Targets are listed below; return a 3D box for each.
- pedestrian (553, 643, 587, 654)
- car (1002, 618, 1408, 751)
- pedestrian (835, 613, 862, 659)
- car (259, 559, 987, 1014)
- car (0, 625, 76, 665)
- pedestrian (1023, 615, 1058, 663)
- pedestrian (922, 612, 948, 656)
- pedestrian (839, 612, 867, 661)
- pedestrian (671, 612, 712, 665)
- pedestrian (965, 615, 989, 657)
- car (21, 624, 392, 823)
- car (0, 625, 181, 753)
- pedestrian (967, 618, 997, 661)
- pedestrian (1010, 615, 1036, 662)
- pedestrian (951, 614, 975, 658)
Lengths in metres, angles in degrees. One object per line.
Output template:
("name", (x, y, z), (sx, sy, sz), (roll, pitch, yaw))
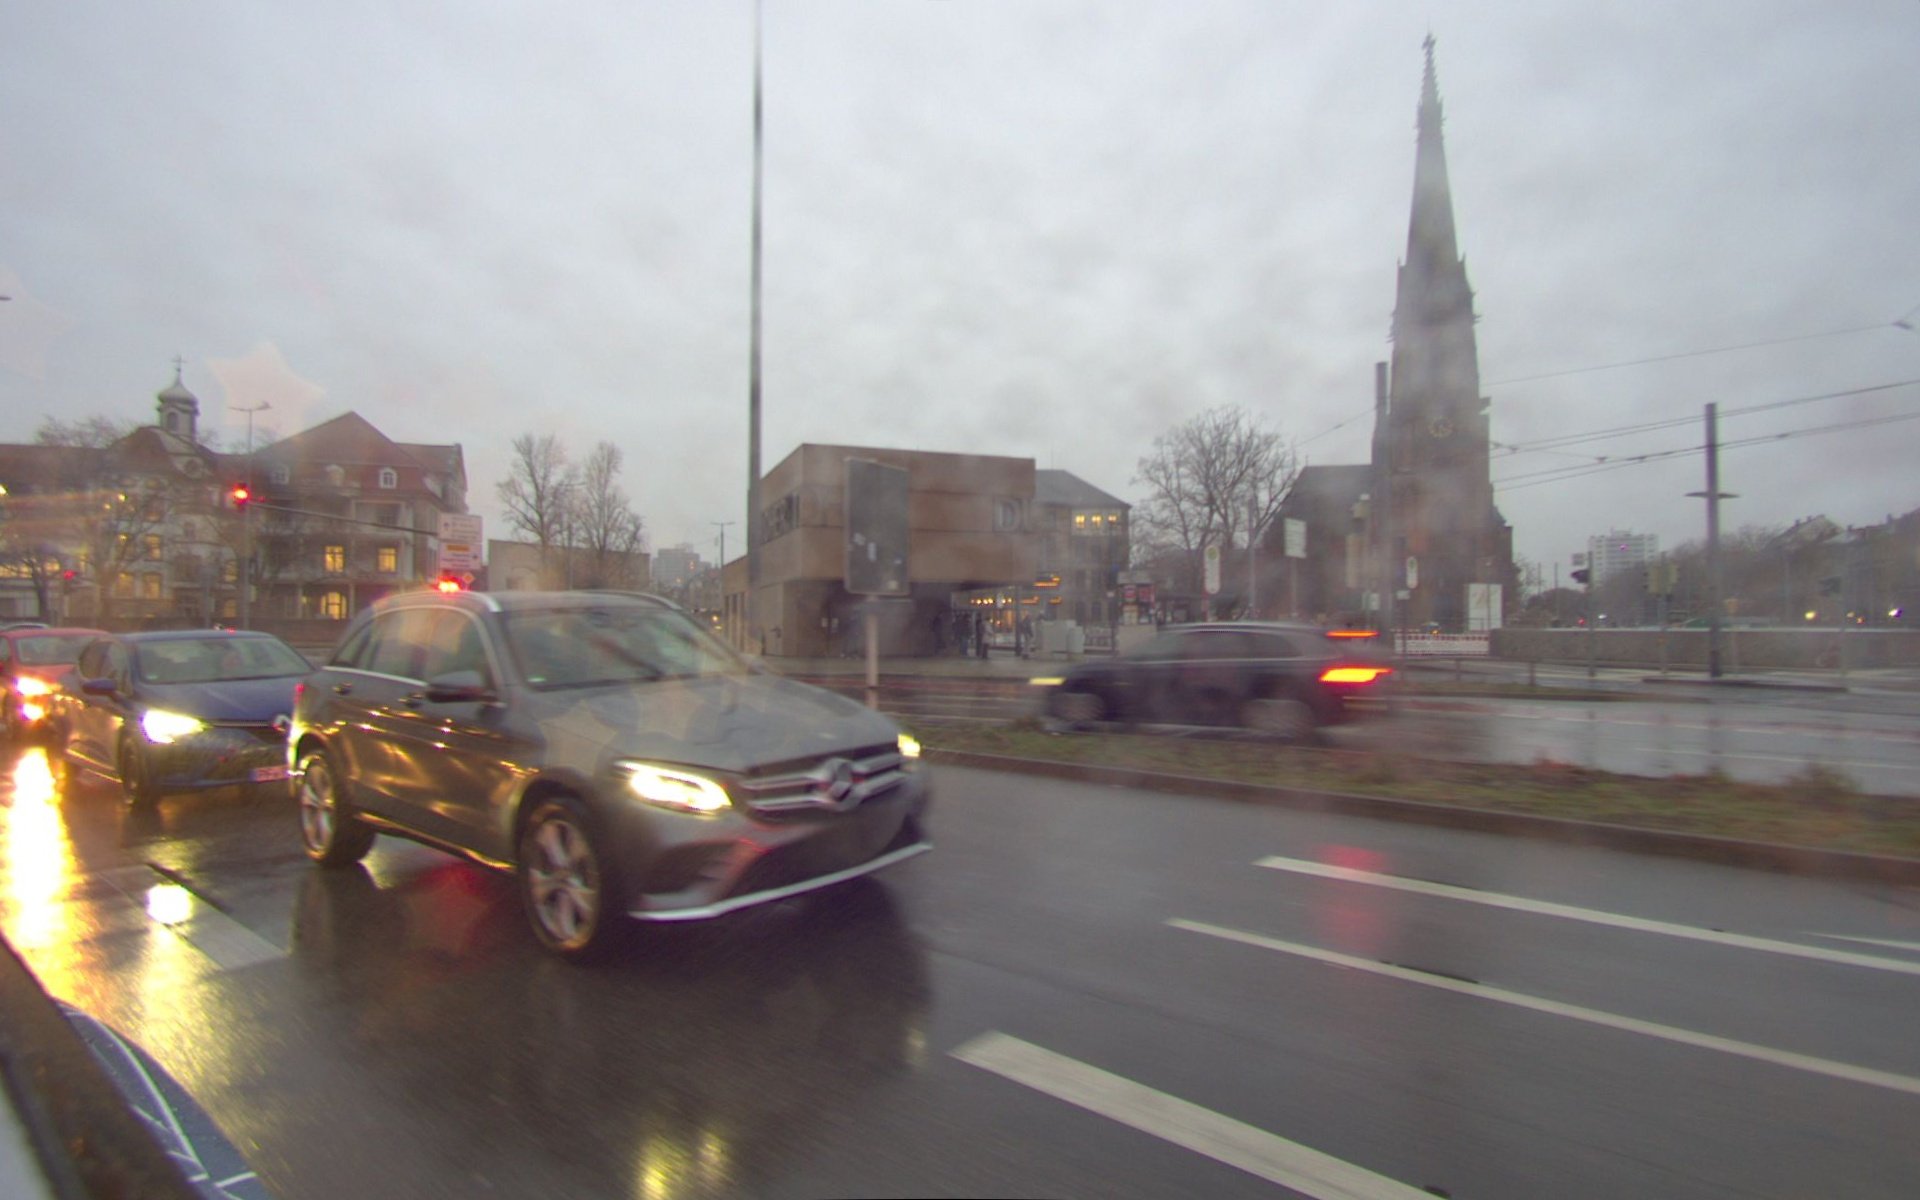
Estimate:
("pedestrian", (-38.268, 4.746, 99.281), (3.047, 0.937, 0.951), (-2, -3, -15))
("car", (3.047, 0.965, 13.135), (4.811, 1.430, 1.790), (-1, -1, 35))
("pedestrian", (-4.260, 1.370, 38.800), (0.731, 1.739, 0.745), (2, -3, -42))
("car", (-2.187, 0.686, 5.731), (4.537, 1.613, 1.767), (-1, 0, 40))
("car", (-40.841, 1.919, 43.130), (1.816, 1.656, 4.807), (0, -2, 6))
("pedestrian", (3.270, 1.604, 41.231), (1.104, 1.933, 1.066), (1, -3, -18))
("pedestrian", (-0.975, 1.341, 39.799), (0.731, 1.739, 0.745), (2, -3, -42))
("pedestrian", (-3.956, 1.359, 37.373), (0.828, 1.781, 0.657), (-1, -3, 23))
("pedestrian", (-9.854, 1.418, 37.206), (1.217, 1.872, 1.035), (-2, -3, 0))
("pedestrian", (0.722, 1.534, 43.071), (0.741, 1.739, 0.735), (-1, -3, 31))
("car", (-7.073, 0.965, 9.359), (4.112, 1.414, 1.644), (-1, 0, 37))
("car", (-12.748, 1.158, 14.246), (3.862, 1.493, 1.687), (-2, 0, 34))
("pedestrian", (0.835, 1.519, 38.594), (0.841, 1.615, 0.968), (1, -3, -21))
("pedestrian", (2.392, 1.468, 38.437), (0.757, 1.764, 0.795), (-1, -3, 22))
("pedestrian", (0.122, 1.453, 40.657), (0.741, 1.739, 0.735), (-1, -3, 29))
